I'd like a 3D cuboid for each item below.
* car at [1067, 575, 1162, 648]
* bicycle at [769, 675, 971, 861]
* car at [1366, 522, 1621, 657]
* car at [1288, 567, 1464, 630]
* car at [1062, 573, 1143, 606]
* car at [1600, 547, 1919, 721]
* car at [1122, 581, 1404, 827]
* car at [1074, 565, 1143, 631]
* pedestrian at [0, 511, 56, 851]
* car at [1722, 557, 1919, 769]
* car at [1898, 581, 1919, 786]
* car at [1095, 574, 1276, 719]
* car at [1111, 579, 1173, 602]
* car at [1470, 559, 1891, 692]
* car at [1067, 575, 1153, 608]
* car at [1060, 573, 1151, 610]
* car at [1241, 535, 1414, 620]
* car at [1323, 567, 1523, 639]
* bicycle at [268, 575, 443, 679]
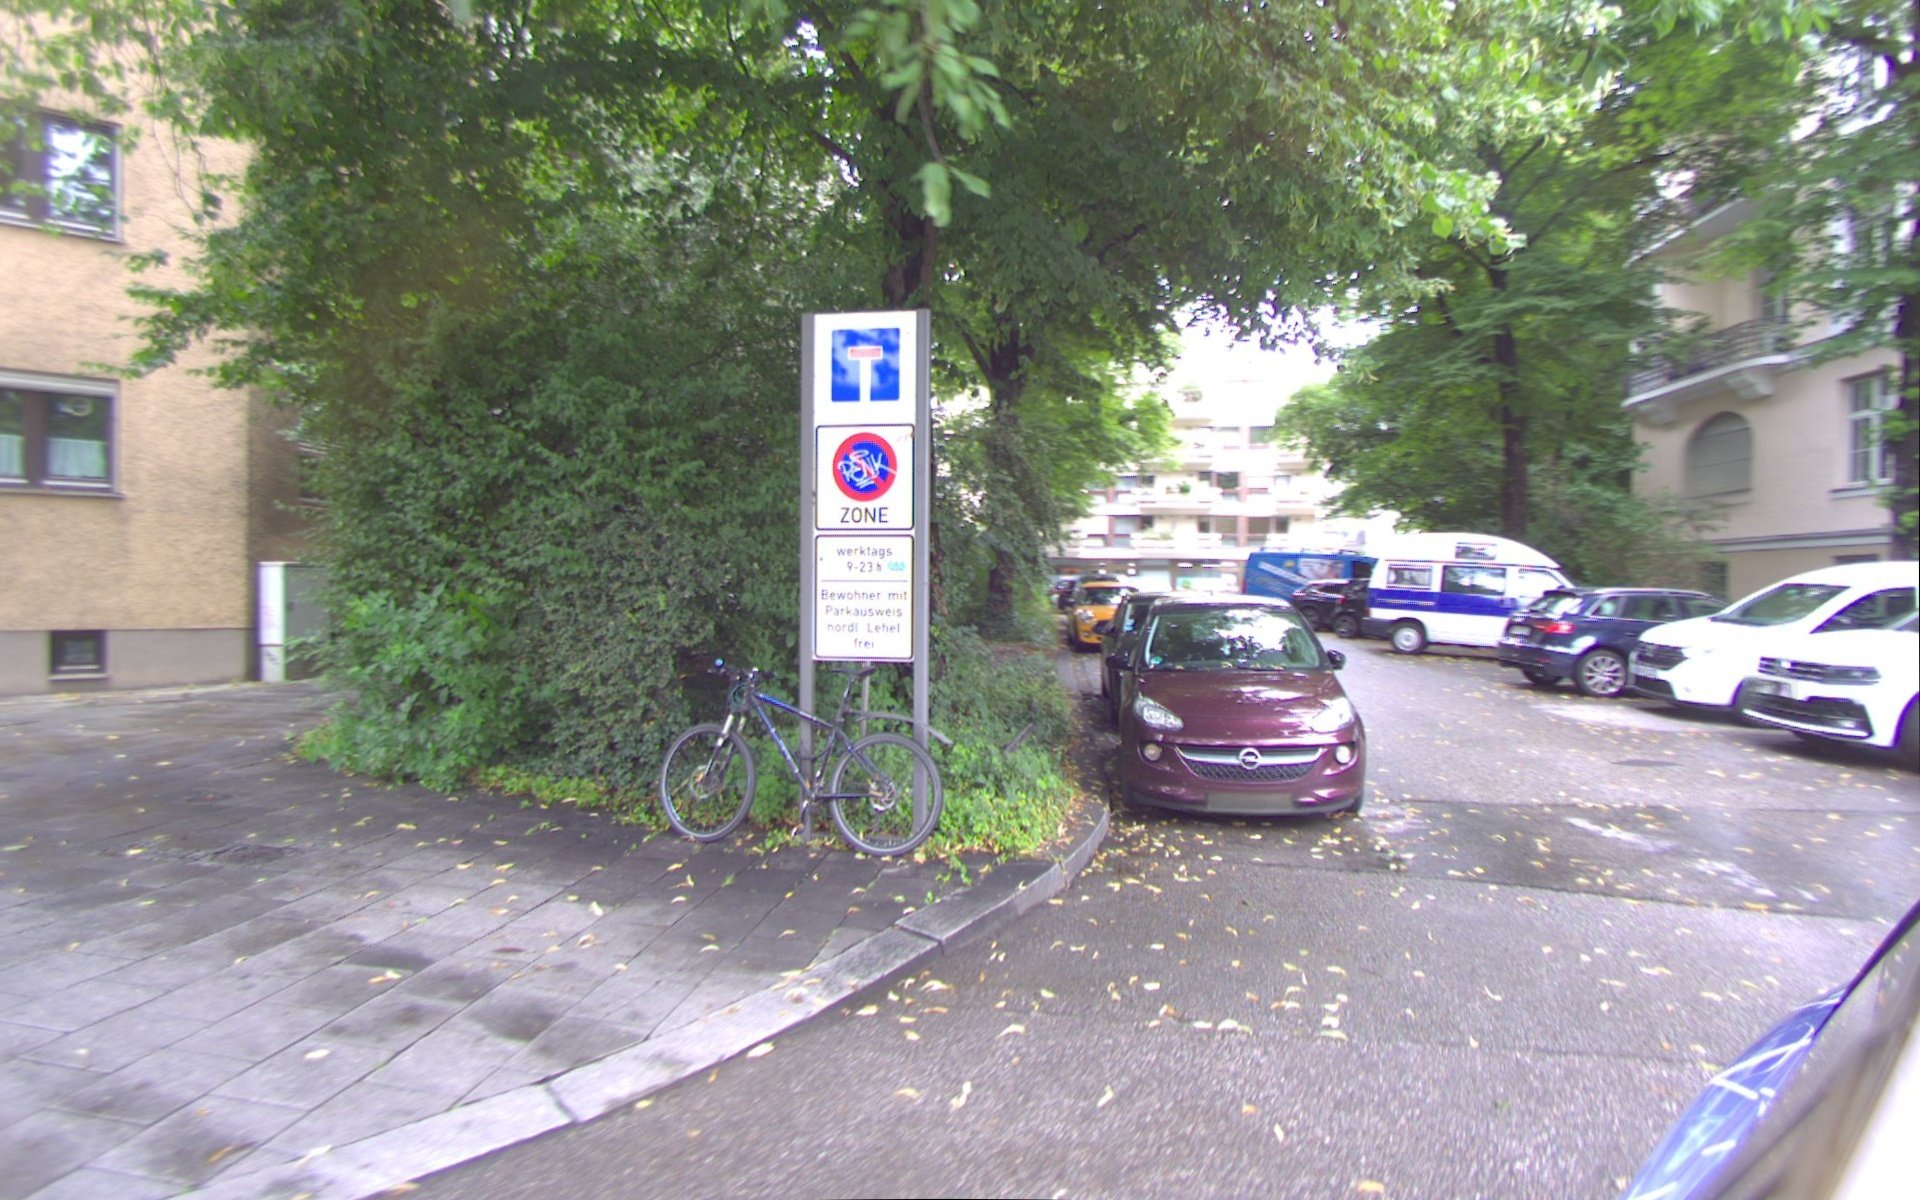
[{"bbox_3d":[3.293,0.196,22.167,1.667,1.456,3.775,0,1,3],"label":"car"},{"bbox_3d":[-0.487,0.879,5.442,1.064,0.891,0.248,1,0,16],"label":"bicycle"},{"bbox_3d":[10.172,-0.223,19.484,4.146,2.342,1.883,1,1,31],"label":"car"},{"bbox_3d":[11.411,-0.083,27.912,4.096,1.623,1.874,1,1,44],"label":"car"},{"bbox_3d":[6.688,-0.508,47.707,3.624,1.497,1.853,0,1,4],"label":"car"},{"bbox_3d":[9.899,0.332,11.322,4.171,1.773,1.915,0,1,6],"label":"car"},{"bbox_3d":[2.189,0.609,8.227,1.705,1.515,3.699,0,1,9],"label":"car"},{"bbox_3d":[3.910,-0.086,27.066,1.669,1.618,4.100,0,1,7],"label":"car"},{"bbox_3d":[-5.127,0.396,4.895,0.964,1.644,0.671,0,0,10],"label":"pedestrian"},{"bbox_3d":[9.366,0.486,8.618,4.170,1.640,1.916,0,1,5],"label":"car"},{"bbox_3d":[8.981,0.635,6.372,4.170,1.485,1.916,0,1,5],"label":"car"},{"bbox_3d":[2.639,0.448,12.690,1.703,1.515,4.041,0,1,5],"label":"car"},{"bbox_3d":[11.069,-0.600,61.651,3.629,1.373,1.851,0,1,8],"label":"car"},{"bbox_3d":[9.456,0.292,13.620,4.171,1.619,1.915,0,1,6],"label":"car"},{"bbox_3d":[6.634,-0.381,45.168,3.624,1.411,1.853,0,1,4],"label":"car"},{"bbox_3d":[6.078,-0.364,42.491,3.624,1.497,1.853,0,1,4],"label":"car"},{"bbox_3d":[11.303,-0.697,31.355,4.671,2.442,1.949,1,1,41],"label":"car"},{"bbox_3d":[11.278,0.020,24.822,4.096,1.623,1.874,1,1,44],"label":"car"},{"bbox_3d":[-7.852,0.296,13.325,0.692,1.232,2.429,0,1,5],"label":"bicycle"}]
